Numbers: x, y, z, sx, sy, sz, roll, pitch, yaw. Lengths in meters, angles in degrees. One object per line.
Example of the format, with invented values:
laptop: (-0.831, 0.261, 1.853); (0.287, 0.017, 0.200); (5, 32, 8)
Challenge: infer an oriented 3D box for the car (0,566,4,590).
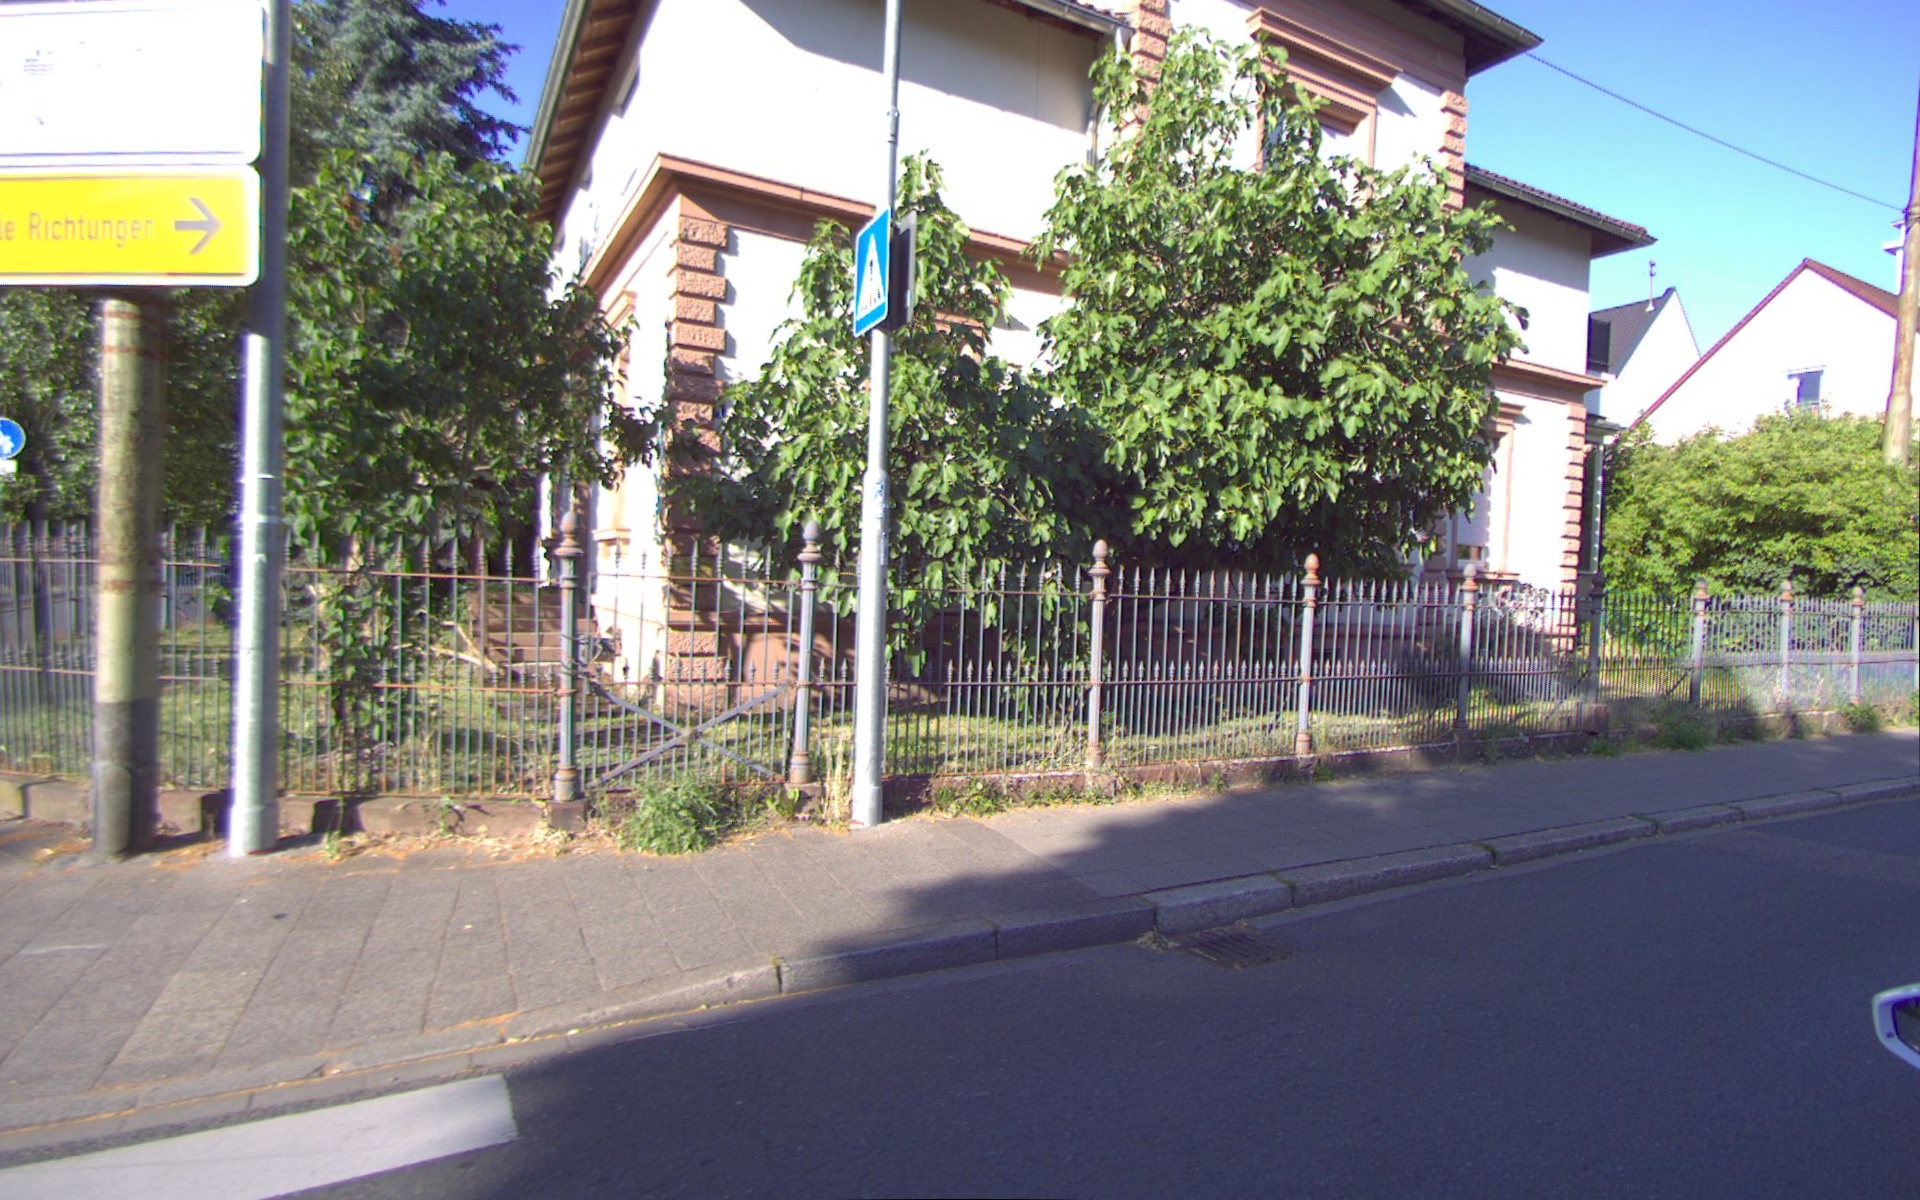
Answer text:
car: (-57.569, -1.301, 58.553); (1.576, 1.410, 3.556); (1, 1, -25)

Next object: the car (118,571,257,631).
car: (-19.660, -0.023, 25.755); (1.815, 1.387, 3.977); (1, 1, -23)

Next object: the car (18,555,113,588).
car: (-53.825, -1.723, 60.480); (3.925, 1.804, 1.839); (2, 1, -6)

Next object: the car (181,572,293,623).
car: (-21.489, -0.120, 30.013); (1.815, 1.387, 3.977); (1, 1, -23)
